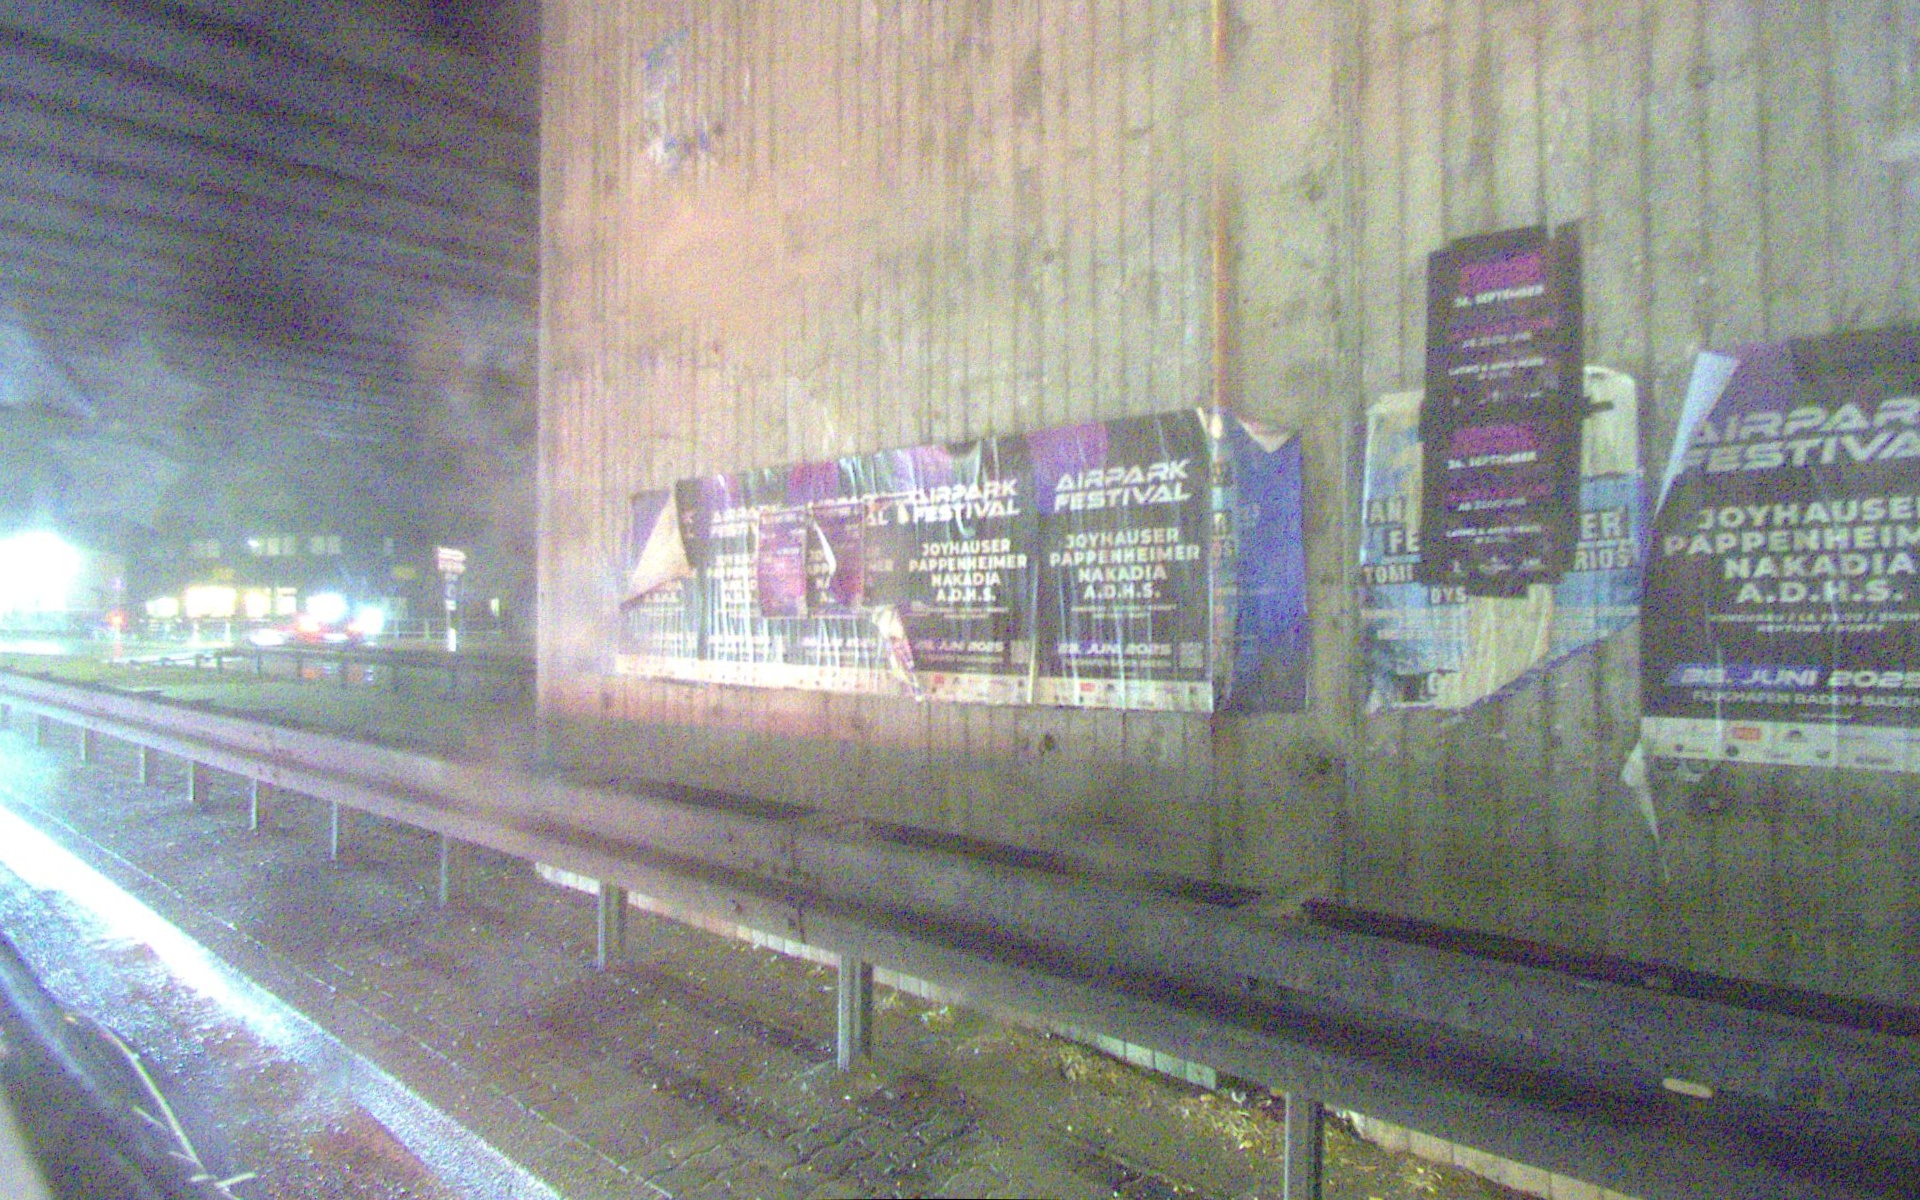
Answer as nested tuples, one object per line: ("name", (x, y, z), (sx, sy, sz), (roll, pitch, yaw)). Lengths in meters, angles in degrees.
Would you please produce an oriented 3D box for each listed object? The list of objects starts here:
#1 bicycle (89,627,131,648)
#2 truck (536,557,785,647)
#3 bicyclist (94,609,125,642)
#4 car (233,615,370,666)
("bicycle", (-38.640, 1.692, 45.994), (2.202, 0.912, 0.623), (0, -2, 27))
("truck", (-16.208, 0.113, 56.216), (13.480, 4.474, 2.746), (0, -1, -43))
("bicyclist", (-38.707, 1.160, 46.043), (1.182, 1.446, 0.624), (0, -2, 26))
("car", (-20.653, 1.238, 31.690), (4.487, 1.498, 2.018), (0, -2, 34))
